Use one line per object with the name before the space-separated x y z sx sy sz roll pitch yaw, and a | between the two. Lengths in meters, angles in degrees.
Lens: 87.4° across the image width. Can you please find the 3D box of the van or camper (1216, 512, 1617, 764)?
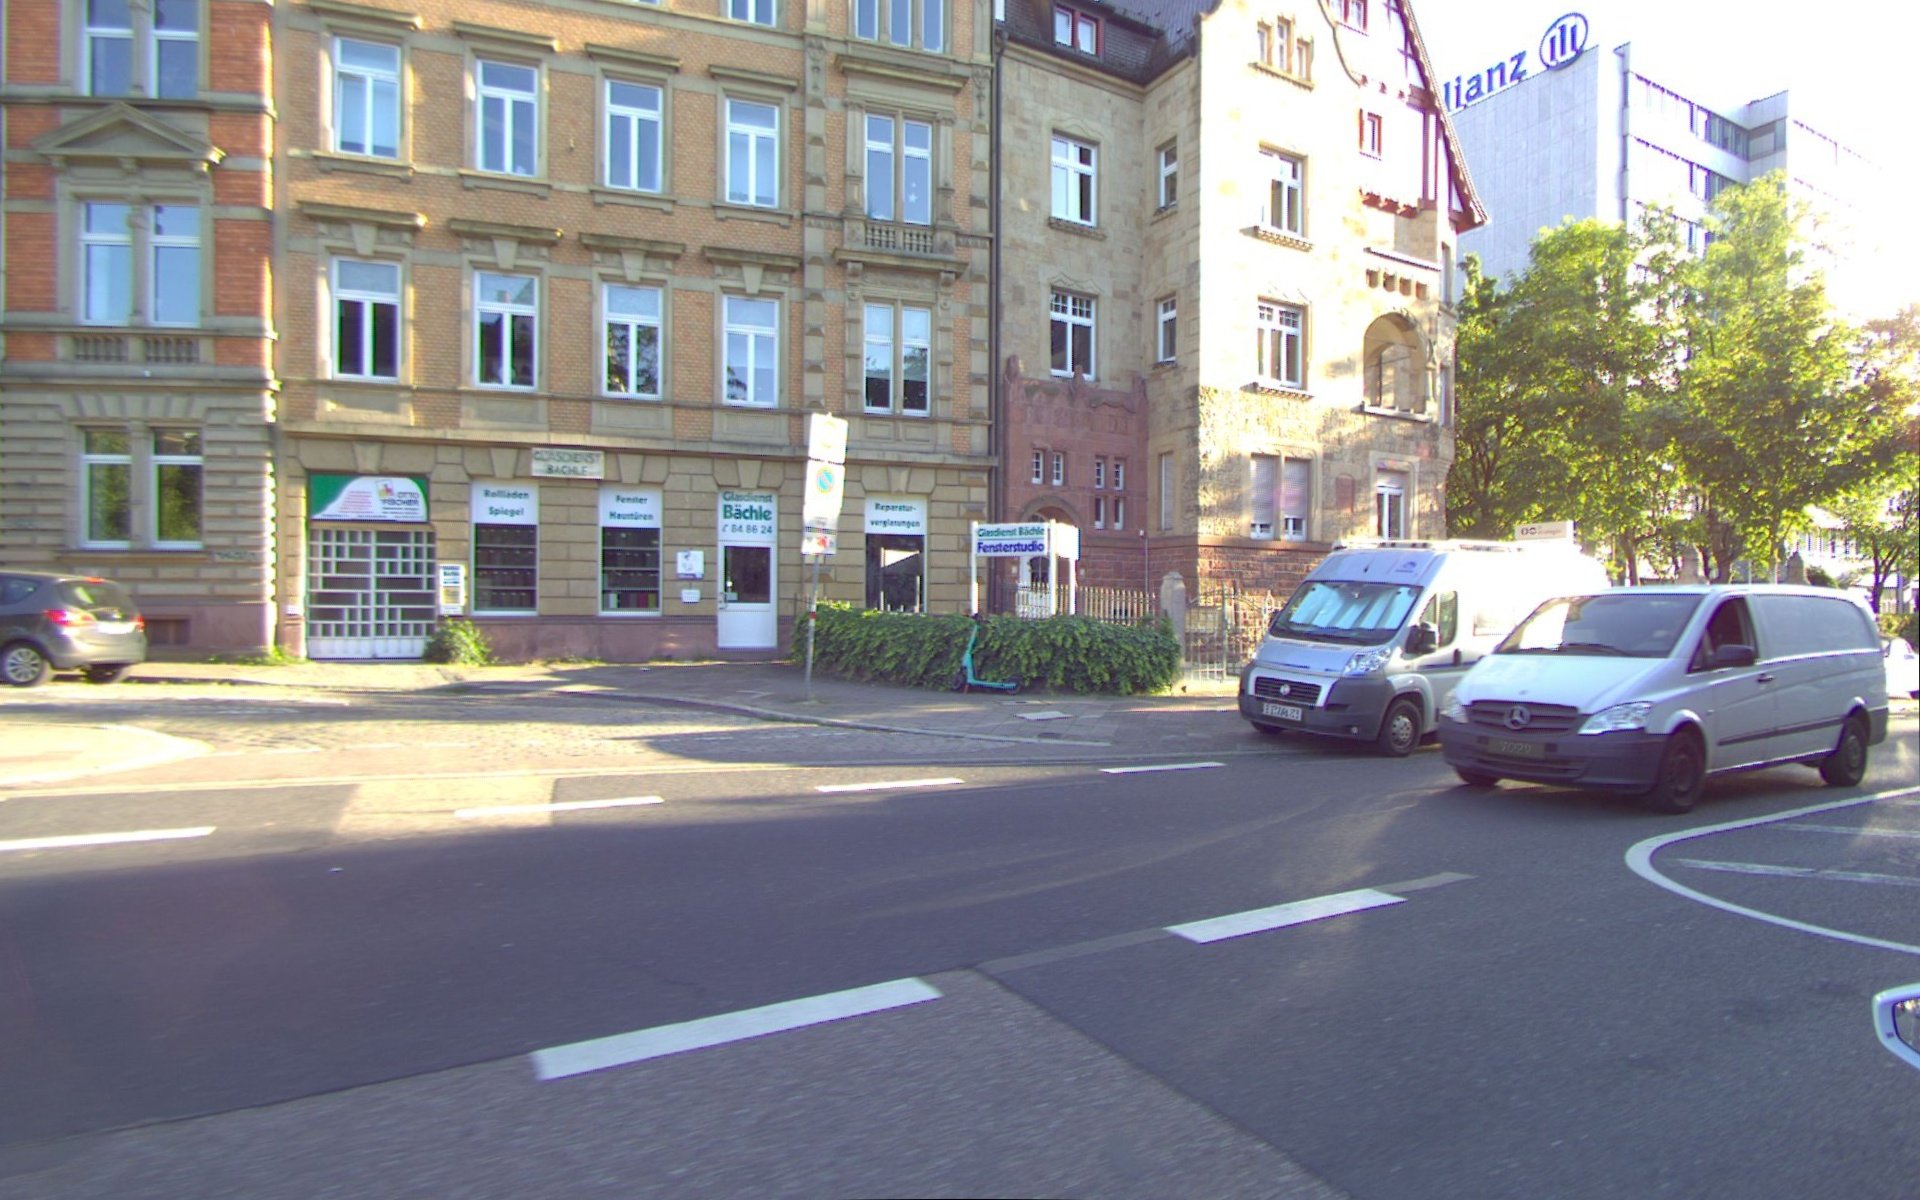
van or camper | 6.210 0.415 13.286 5.976 2.704 1.981 1 1 -34

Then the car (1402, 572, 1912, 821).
car | 6.772 0.772 9.622 5.107 1.856 1.985 1 -2 -29

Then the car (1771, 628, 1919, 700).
car | 18.212 1.245 20.433 3.572 1.265 1.528 1 1 -31

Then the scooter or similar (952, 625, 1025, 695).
scooter or similar | 0.443 0.926 15.668 1.095 1.071 0.288 -1 -1 13

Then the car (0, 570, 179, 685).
car | -14.383 0.397 14.515 4.477 1.557 1.998 0 -1 -7
